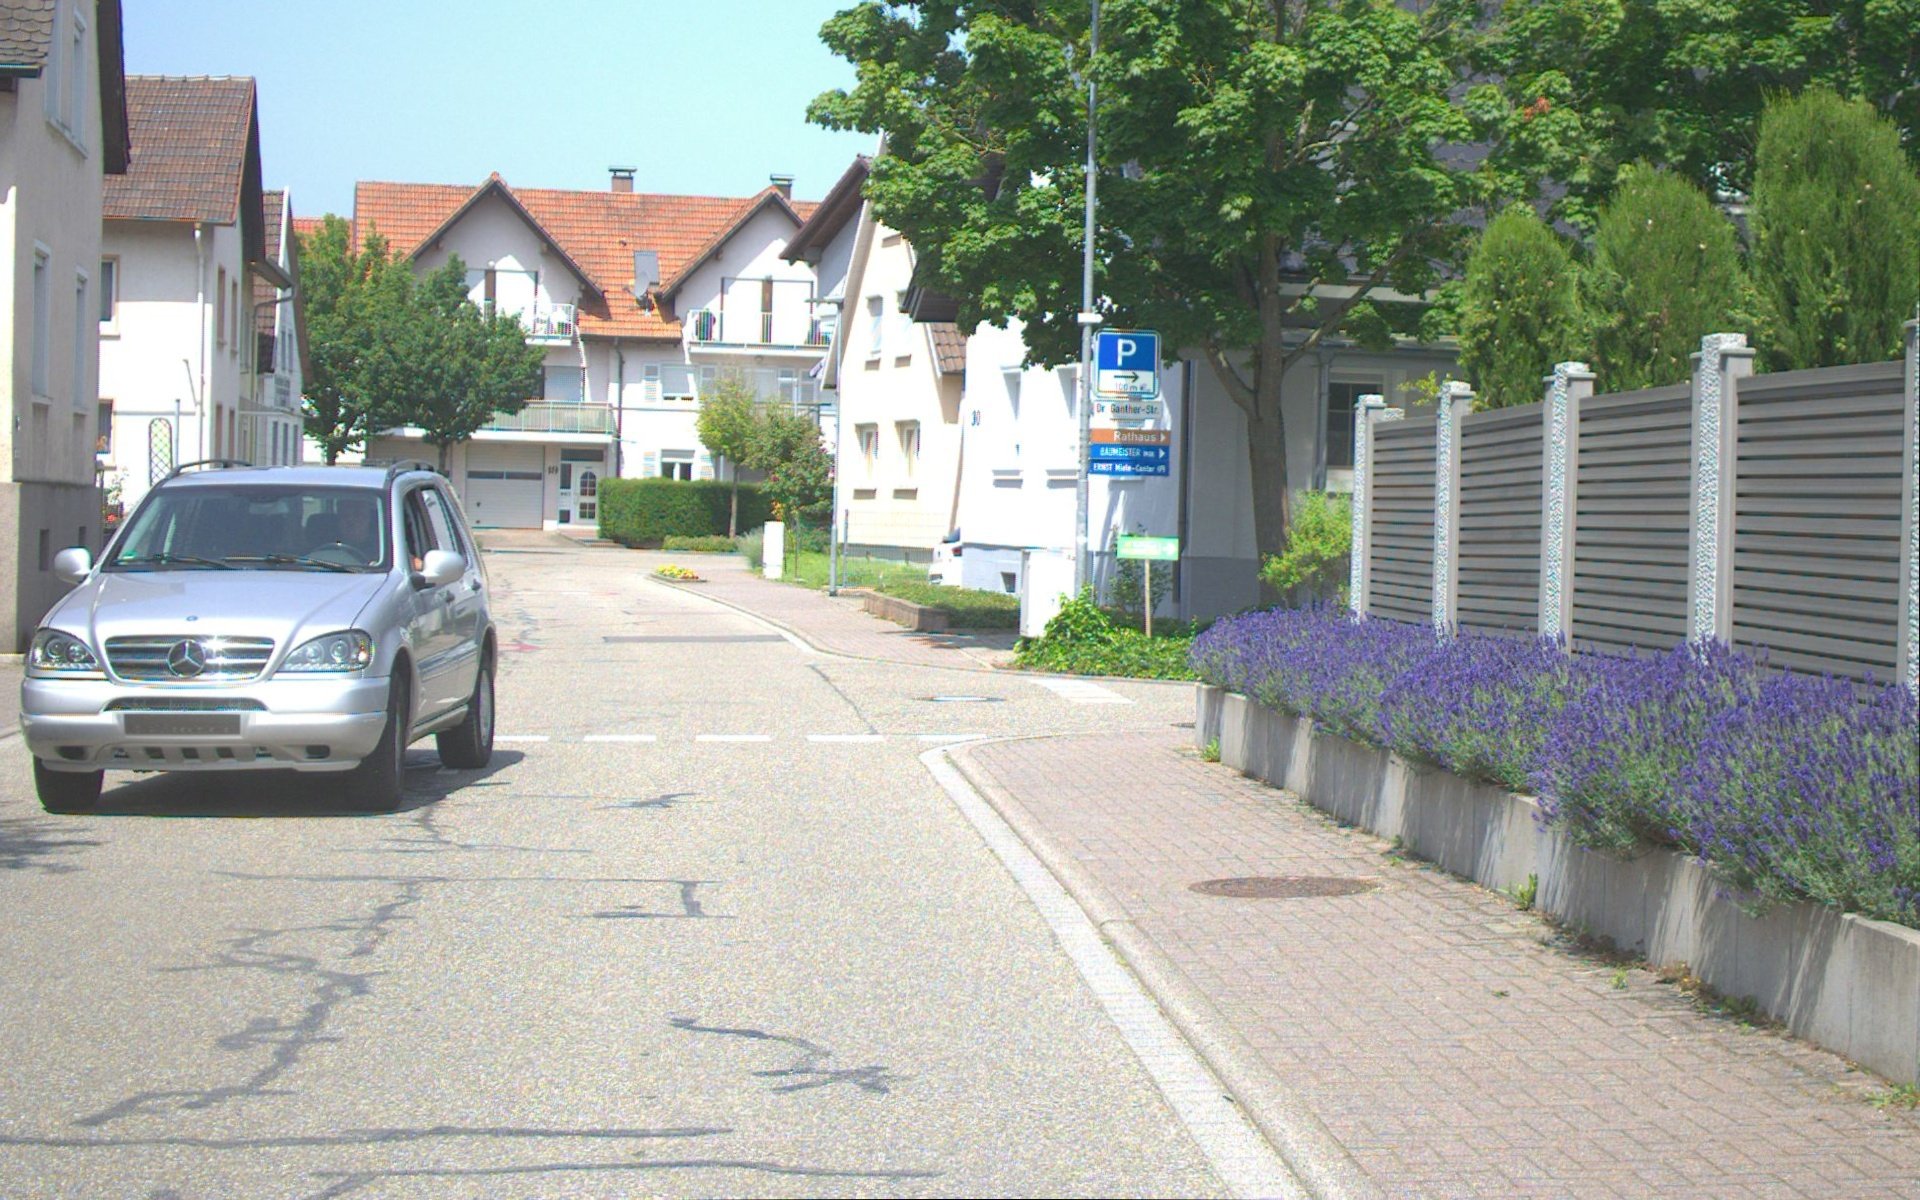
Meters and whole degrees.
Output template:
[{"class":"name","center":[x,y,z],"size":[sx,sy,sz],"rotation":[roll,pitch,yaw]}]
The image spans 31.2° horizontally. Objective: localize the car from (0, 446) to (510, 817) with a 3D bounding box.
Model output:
[{"class":"car","center":[-3.658,0.105,18.522],"size":[1.885,1.761,4.331],"rotation":[0,1,0]}]

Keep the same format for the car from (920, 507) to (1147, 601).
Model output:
[{"class":"car","center":[1.067,-0.673,50.405],"size":[3.042,1.341,1.423],"rotation":[0,1,-15]}]
